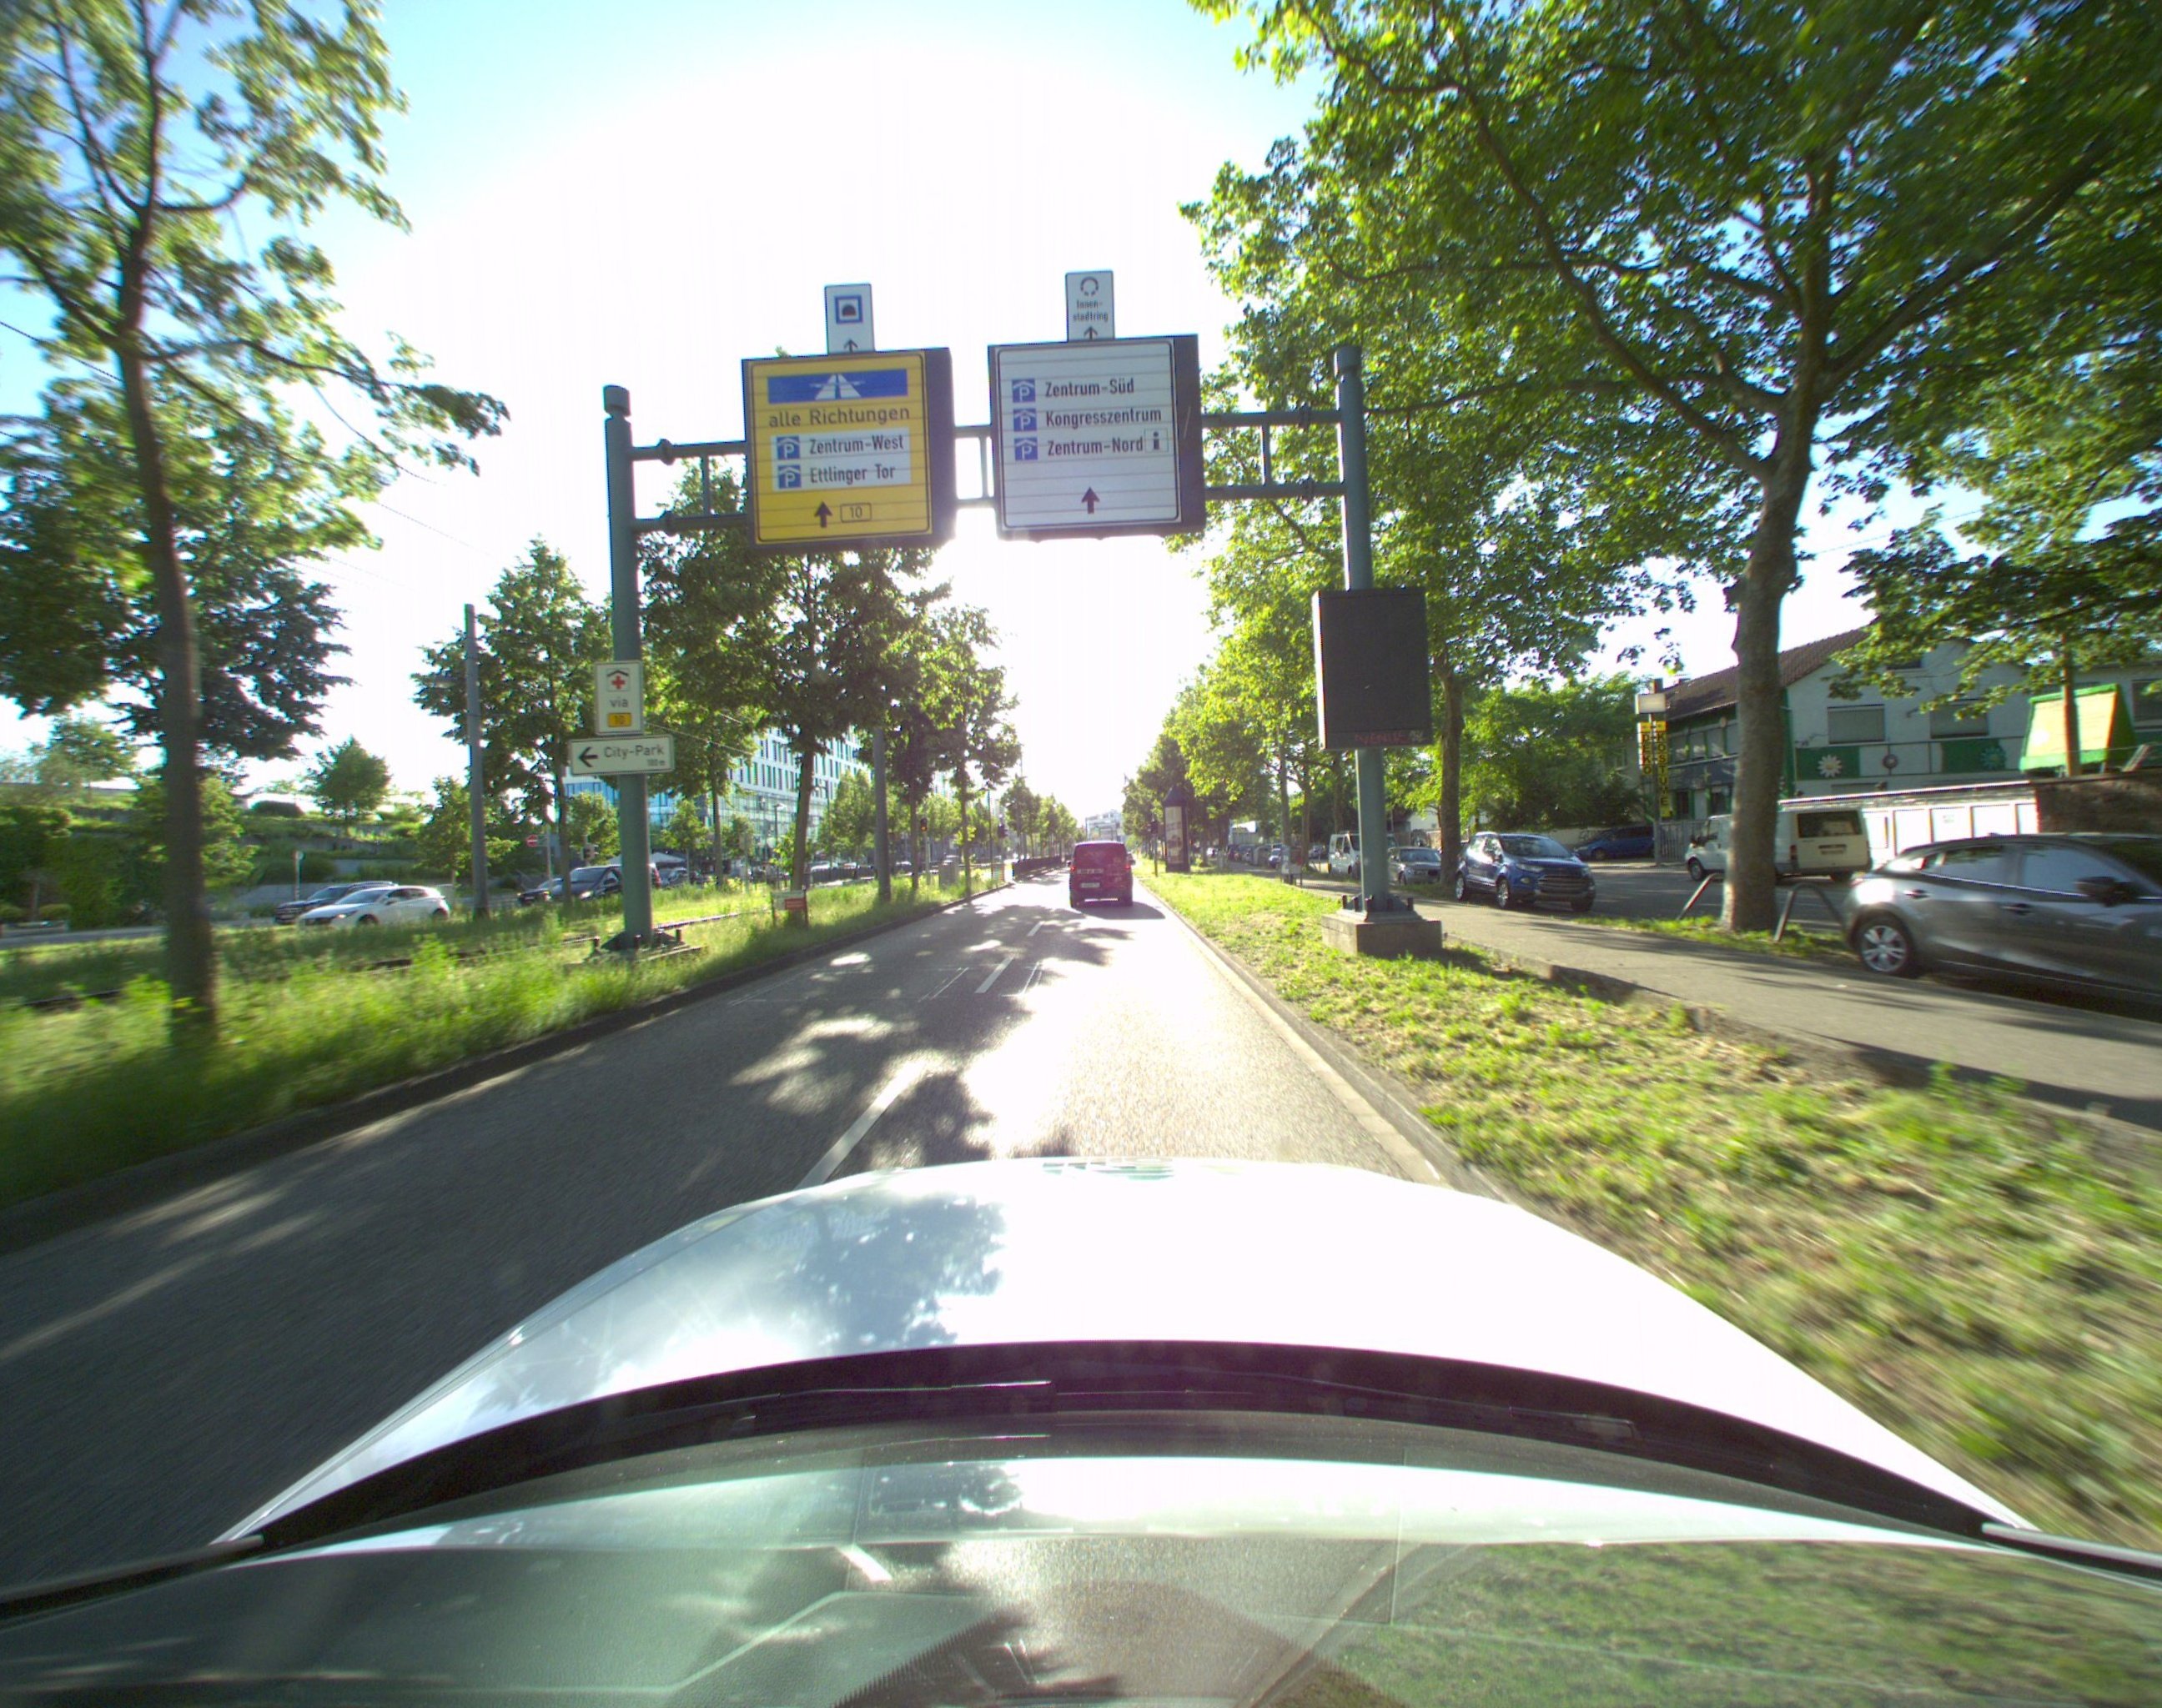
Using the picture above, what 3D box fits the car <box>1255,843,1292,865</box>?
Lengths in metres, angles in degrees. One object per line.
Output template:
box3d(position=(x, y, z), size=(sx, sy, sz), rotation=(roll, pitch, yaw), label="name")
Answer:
box3d(position=(12.930, 0.019, 54.996), size=(1.988, 1.384, 4.755), rotation=(-1, 0, 8), label="car")

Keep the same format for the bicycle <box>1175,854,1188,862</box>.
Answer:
box3d(position=(15.792, 0.588, 127.752), size=(1.910, 1.268, 0.479), rotation=(-2, 0, 2), label="bicycle")

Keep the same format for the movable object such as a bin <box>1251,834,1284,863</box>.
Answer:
box3d(position=(13.629, -0.401, 59.668), size=(2.071, 2.014, 2.139), rotation=(-1, 0, 6), label="movable object such as a bin")

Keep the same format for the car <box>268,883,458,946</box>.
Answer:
box3d(position=(-22.110, 1.799, 25.346), size=(1.984, 1.571, 4.172), rotation=(-2, 0, 5), label="car")

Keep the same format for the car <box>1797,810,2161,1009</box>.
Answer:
box3d(position=(8.591, 0.387, 6.486), size=(1.984, 1.381, 4.684), rotation=(0, 0, 5), label="car")

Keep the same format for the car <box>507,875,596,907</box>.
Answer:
box3d(position=(-30.180, 2.083, 46.599), size=(1.871, 1.621, 4.614), rotation=(-1, 0, 3), label="car")

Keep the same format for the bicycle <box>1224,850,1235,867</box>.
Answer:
box3d(position=(9.700, 0.302, 53.193), size=(0.491, 1.046, 1.906), rotation=(-1, 0, 4), label="bicycle")

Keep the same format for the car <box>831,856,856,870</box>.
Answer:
box3d(position=(-33.684, 1.278, 115.769), size=(1.985, 2.014, 4.567), rotation=(-1, 0, 3), label="car")

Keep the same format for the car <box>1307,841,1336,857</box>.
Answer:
box3d(position=(26.038, -0.537, 88.340), size=(1.863, 1.483, 4.695), rotation=(-4, -1, 3), label="car")

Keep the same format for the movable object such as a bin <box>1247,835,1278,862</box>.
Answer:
box3d(position=(13.901, -0.380, 62.426), size=(2.071, 2.014, 2.139), rotation=(-1, 0, 6), label="movable object such as a bin")

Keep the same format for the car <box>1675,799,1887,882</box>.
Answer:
box3d(position=(19.366, -0.335, 22.916), size=(2.076, 2.013, 4.952), rotation=(-2, 0, 7), label="car")

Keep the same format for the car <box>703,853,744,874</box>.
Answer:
box3d(position=(-36.386, 0.966, 83.020), size=(1.985, 2.014, 4.567), rotation=(0, 0, 3), label="car")

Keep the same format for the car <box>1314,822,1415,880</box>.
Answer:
box3d(position=(10.851, -0.091, 31.716), size=(2.180, 2.014, 5.825), rotation=(-1, 0, 3), label="car")

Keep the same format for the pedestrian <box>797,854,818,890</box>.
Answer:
box3d(position=(-14.097, 0.929, 41.915), size=(0.818, 1.836, 0.726), rotation=(-1, -1, -1), label="pedestrian")

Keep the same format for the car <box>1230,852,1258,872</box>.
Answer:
box3d(position=(15.840, 0.781, 79.150), size=(1.864, 1.820, 4.894), rotation=(-1, 0, 2), label="car")

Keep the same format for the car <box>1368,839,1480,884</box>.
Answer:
box3d(position=(10.541, 0.225, 25.380), size=(1.985, 1.290, 4.056), rotation=(-1, 0, 3), label="car")

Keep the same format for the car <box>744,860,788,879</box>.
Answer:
box3d(position=(-28.697, 1.420, 74.412), size=(1.985, 1.671, 4.614), rotation=(-1, 0, 3), label="car")

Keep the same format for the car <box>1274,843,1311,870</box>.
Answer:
box3d(position=(12.691, 0.154, 49.016), size=(1.654, 1.500, 2.993), rotation=(-1, 0, 4), label="car")

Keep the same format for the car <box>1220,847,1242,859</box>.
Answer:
box3d(position=(16.812, -0.096, 91.682), size=(1.864, 1.367, 4.002), rotation=(-1, 0, 2), label="car")

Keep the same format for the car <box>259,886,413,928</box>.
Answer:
box3d(position=(-30.184, 2.105, 33.216), size=(1.871, 1.435, 4.614), rotation=(-1, 0, 3), label="car")

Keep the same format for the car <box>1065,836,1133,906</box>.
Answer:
box3d(position=(0.460, 0.472, 23.711), size=(1.803, 1.838, 3.998), rotation=(-1, 0, -1), label="car")

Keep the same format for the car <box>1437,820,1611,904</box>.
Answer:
box3d(position=(9.729, 0.176, 18.322), size=(1.729, 1.642, 4.356), rotation=(-1, 0, 3), label="car")

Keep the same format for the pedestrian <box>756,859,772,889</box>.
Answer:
box3d(position=(-15.998, 0.984, 41.142), size=(0.540, 1.497, 0.604), rotation=(-1, -1, 6), label="pedestrian")

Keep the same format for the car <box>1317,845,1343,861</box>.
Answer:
box3d(position=(25.348, -0.086, 83.007), size=(1.722, 1.371, 4.320), rotation=(-5, -1, 6), label="car")

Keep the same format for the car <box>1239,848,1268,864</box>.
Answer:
box3d(position=(15.561, 0.209, 73.538), size=(1.864, 1.389, 4.002), rotation=(-1, 0, 2), label="car")

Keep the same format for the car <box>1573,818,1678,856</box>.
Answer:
box3d(position=(27.363, -0.838, 41.019), size=(4.067, 1.850, 1.850), rotation=(-1, 0, 2), label="car")

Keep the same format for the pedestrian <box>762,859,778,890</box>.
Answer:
box3d(position=(-15.475, 1.018, 40.514), size=(0.547, 1.518, 0.589), rotation=(-1, -1, 7), label="pedestrian")

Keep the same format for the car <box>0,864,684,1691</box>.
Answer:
box3d(position=(-2.980, 0.819, 1.383), size=(1.945, 1.480, 5.087), rotation=(-1, 0, 2), label="car")

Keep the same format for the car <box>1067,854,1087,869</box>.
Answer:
box3d(position=(-0.456, 0.827, 90.523), size=(1.986, 1.618, 4.002), rotation=(-1, 0, 2), label="car")
